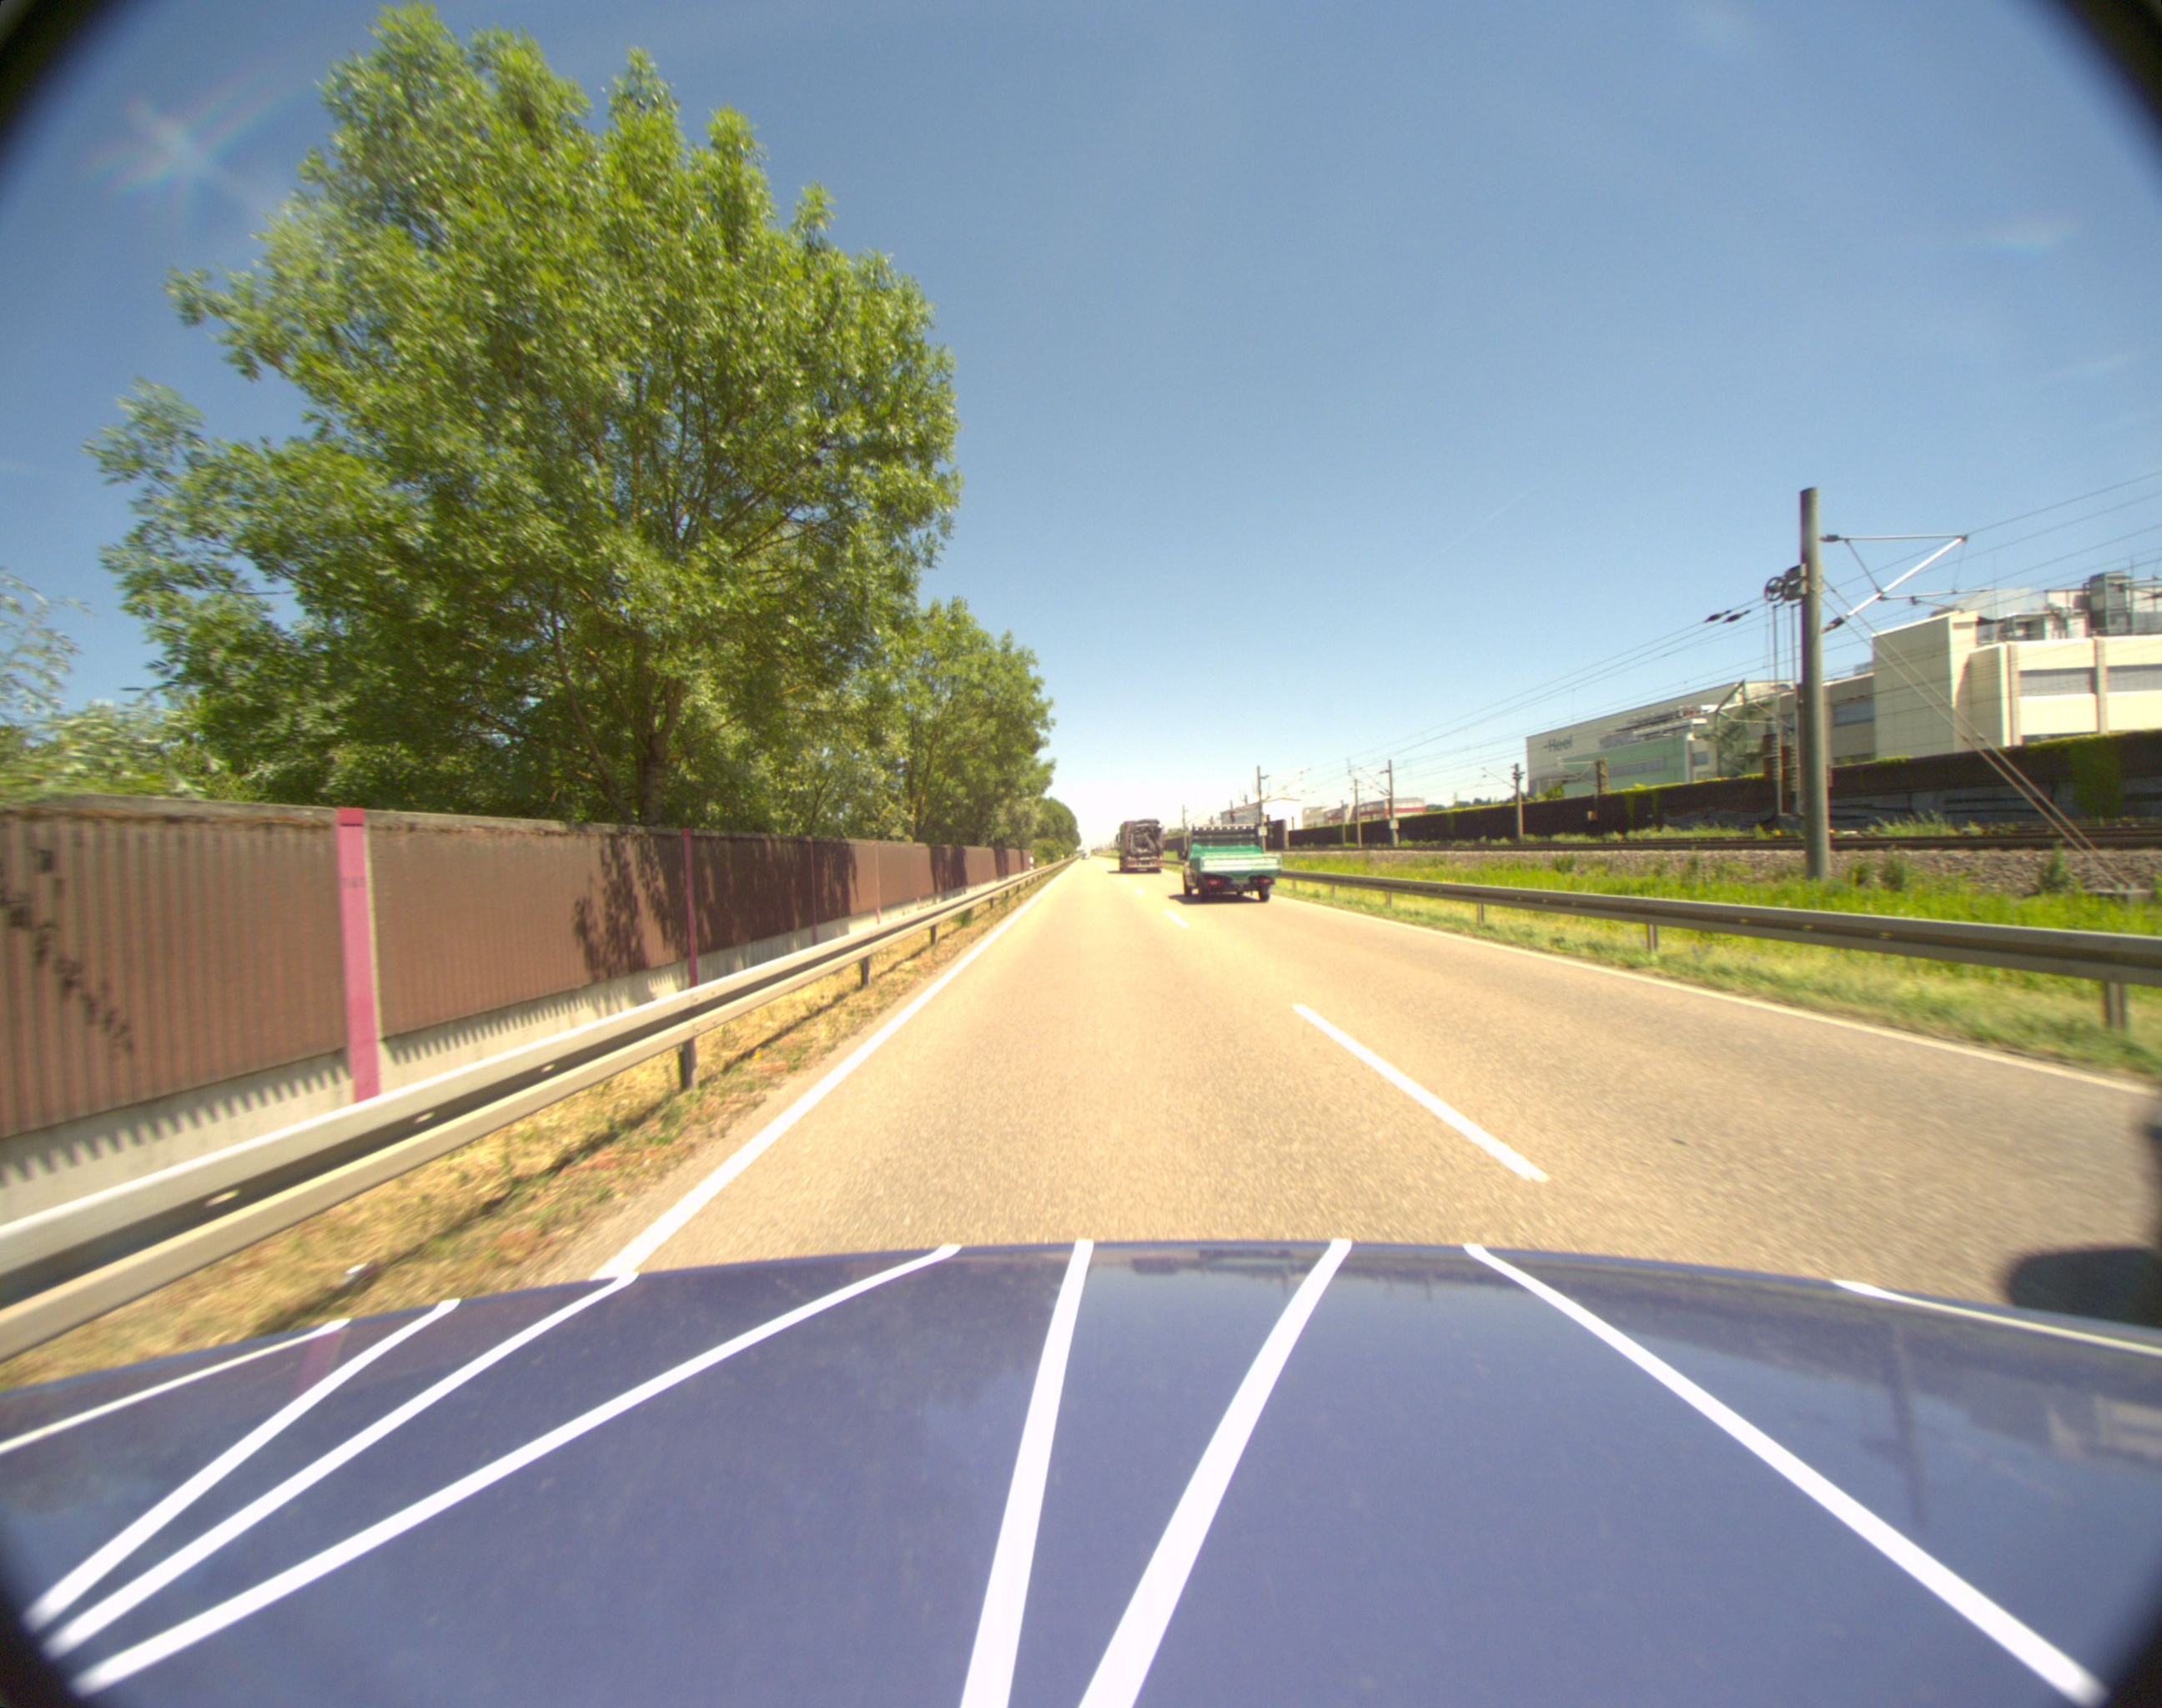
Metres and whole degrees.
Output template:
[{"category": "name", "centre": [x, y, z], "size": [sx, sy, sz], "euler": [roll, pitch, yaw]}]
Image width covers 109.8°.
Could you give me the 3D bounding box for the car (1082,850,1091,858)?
[{"category": "car", "centre": [1.288, 0.019, 182.123], "size": [1.999, 2.002, 3.999], "euler": [-2, 0, -1]}]

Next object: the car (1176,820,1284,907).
[{"category": "car", "centre": [4.420, 0.223, 23.685], "size": [2.267, 2.273, 6.235], "euler": [-2, 0, 2]}]

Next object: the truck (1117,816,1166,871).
[{"category": "truck", "centre": [4.255, -0.700, 55.782], "size": [2.665, 3.606, 10.976], "euler": [-1, 0, 0]}]
